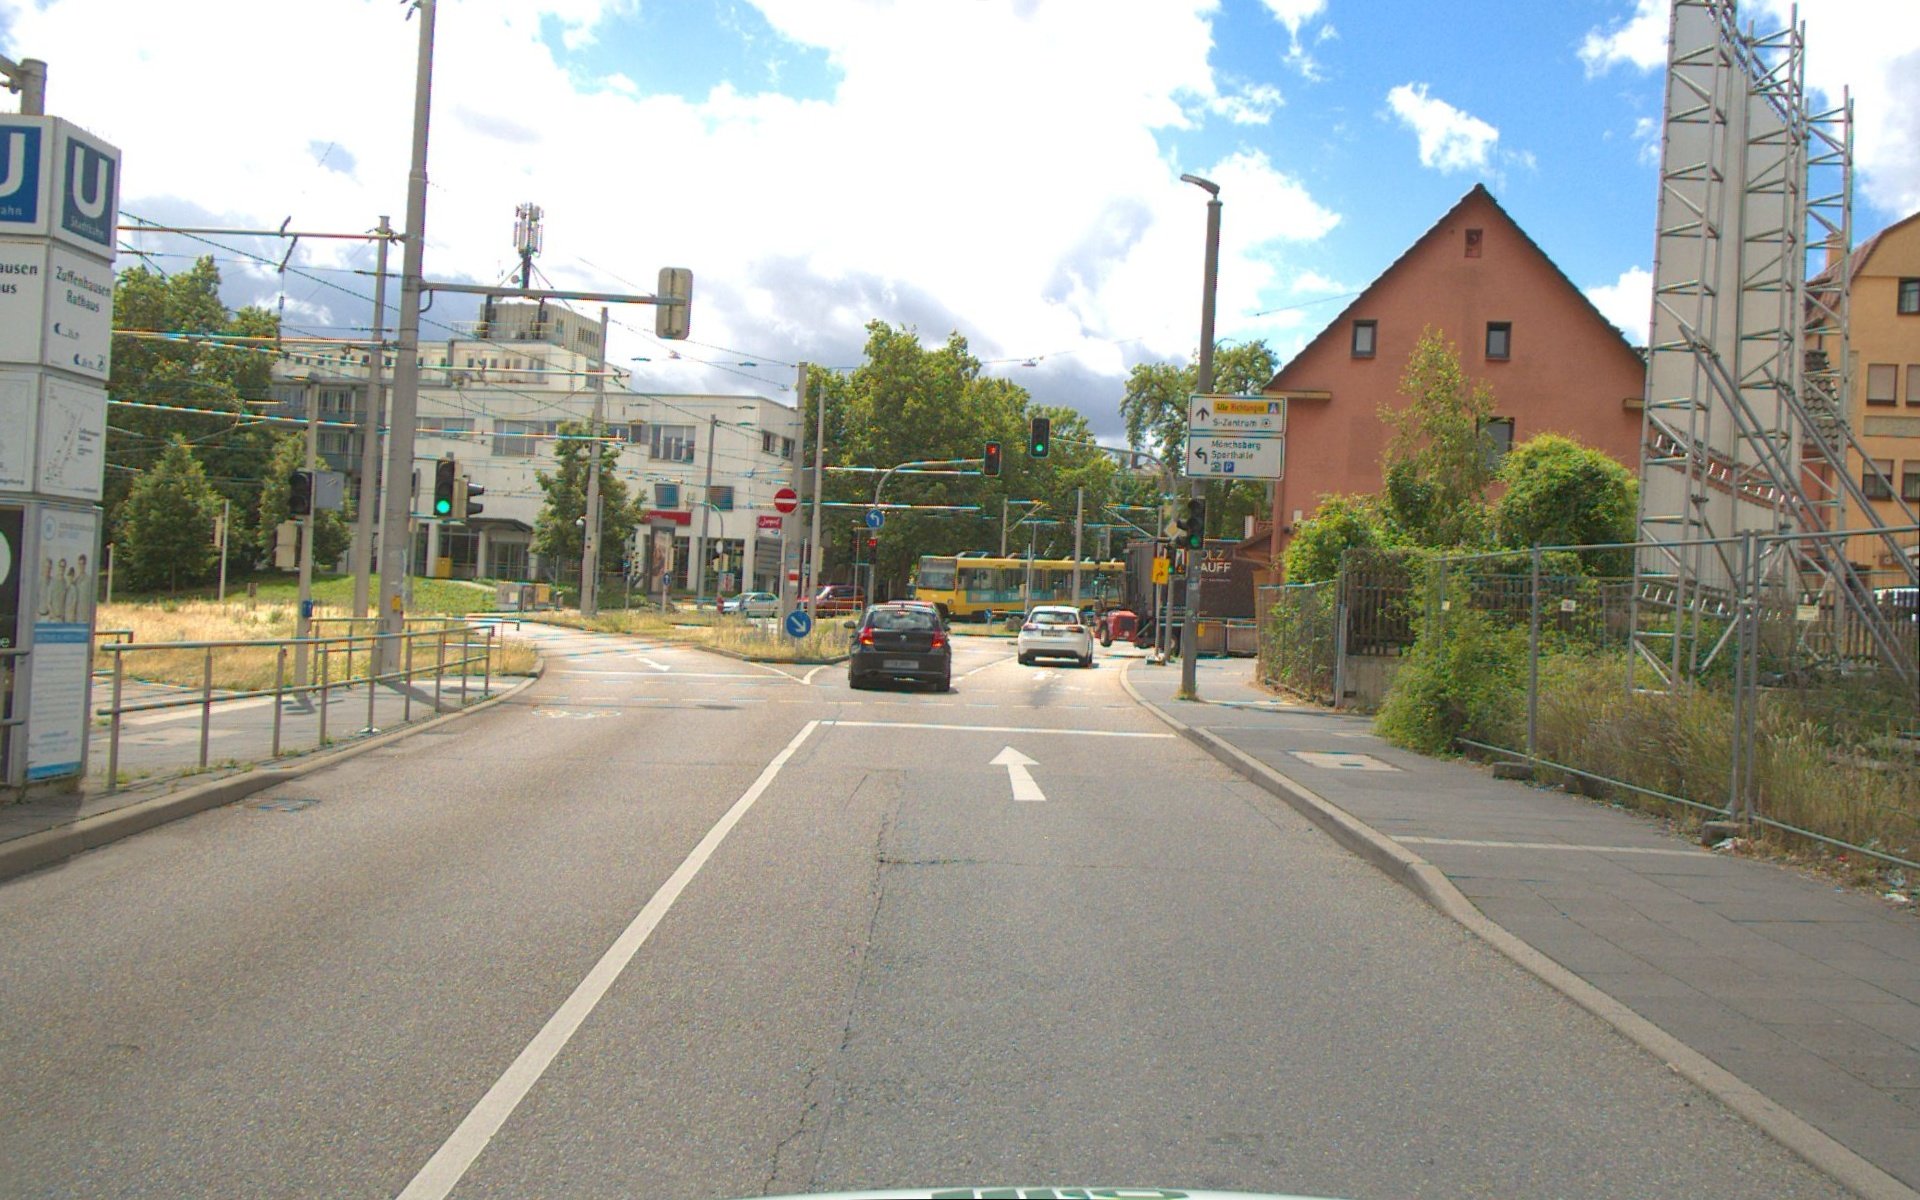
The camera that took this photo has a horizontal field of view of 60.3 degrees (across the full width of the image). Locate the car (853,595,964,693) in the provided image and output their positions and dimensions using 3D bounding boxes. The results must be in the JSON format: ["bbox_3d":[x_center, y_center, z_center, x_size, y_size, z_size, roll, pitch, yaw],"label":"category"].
[{"bbox_3d":[-0.954,0.704,28.548,1.692,1.482,3.805,2,0,-5],"label":"car"}]

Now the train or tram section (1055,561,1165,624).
[{"bbox_3d":[10.507,-0.445,112.930,2.642,3.816,18.363,3,1,20],"label":"train or tram section"}]

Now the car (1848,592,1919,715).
[{"bbox_3d":[9.495,0.506,15.466,1.050,1.140,2.446,1,0,-1],"label":"car"}]

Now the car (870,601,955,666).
[{"bbox_3d":[-1.119,0.789,40.798,1.676,1.417,3.811,2,0,4],"label":"car"}]

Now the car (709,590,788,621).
[{"bbox_3d":[-11.599,0.300,90.977,1.964,1.489,3.977,3,0,41],"label":"car"}]

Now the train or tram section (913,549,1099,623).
[{"bbox_3d":[3.092,-0.635,96.468,2.646,3.816,18.329,3,1,29],"label":"train or tram section"}]

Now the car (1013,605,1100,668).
[{"bbox_3d":[2.541,0.935,42.803,1.848,1.491,4.072,2,-1,8],"label":"car"}]

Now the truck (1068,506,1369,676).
[{"bbox_3d":[8.294,-0.229,53.261,8.852,4.614,3.200,5,-2,-16],"label":"truck"}]

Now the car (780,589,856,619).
[{"bbox_3d":[-8.251,0.246,96.353,1.963,1.628,4.177,3,1,40],"label":"car"}]
